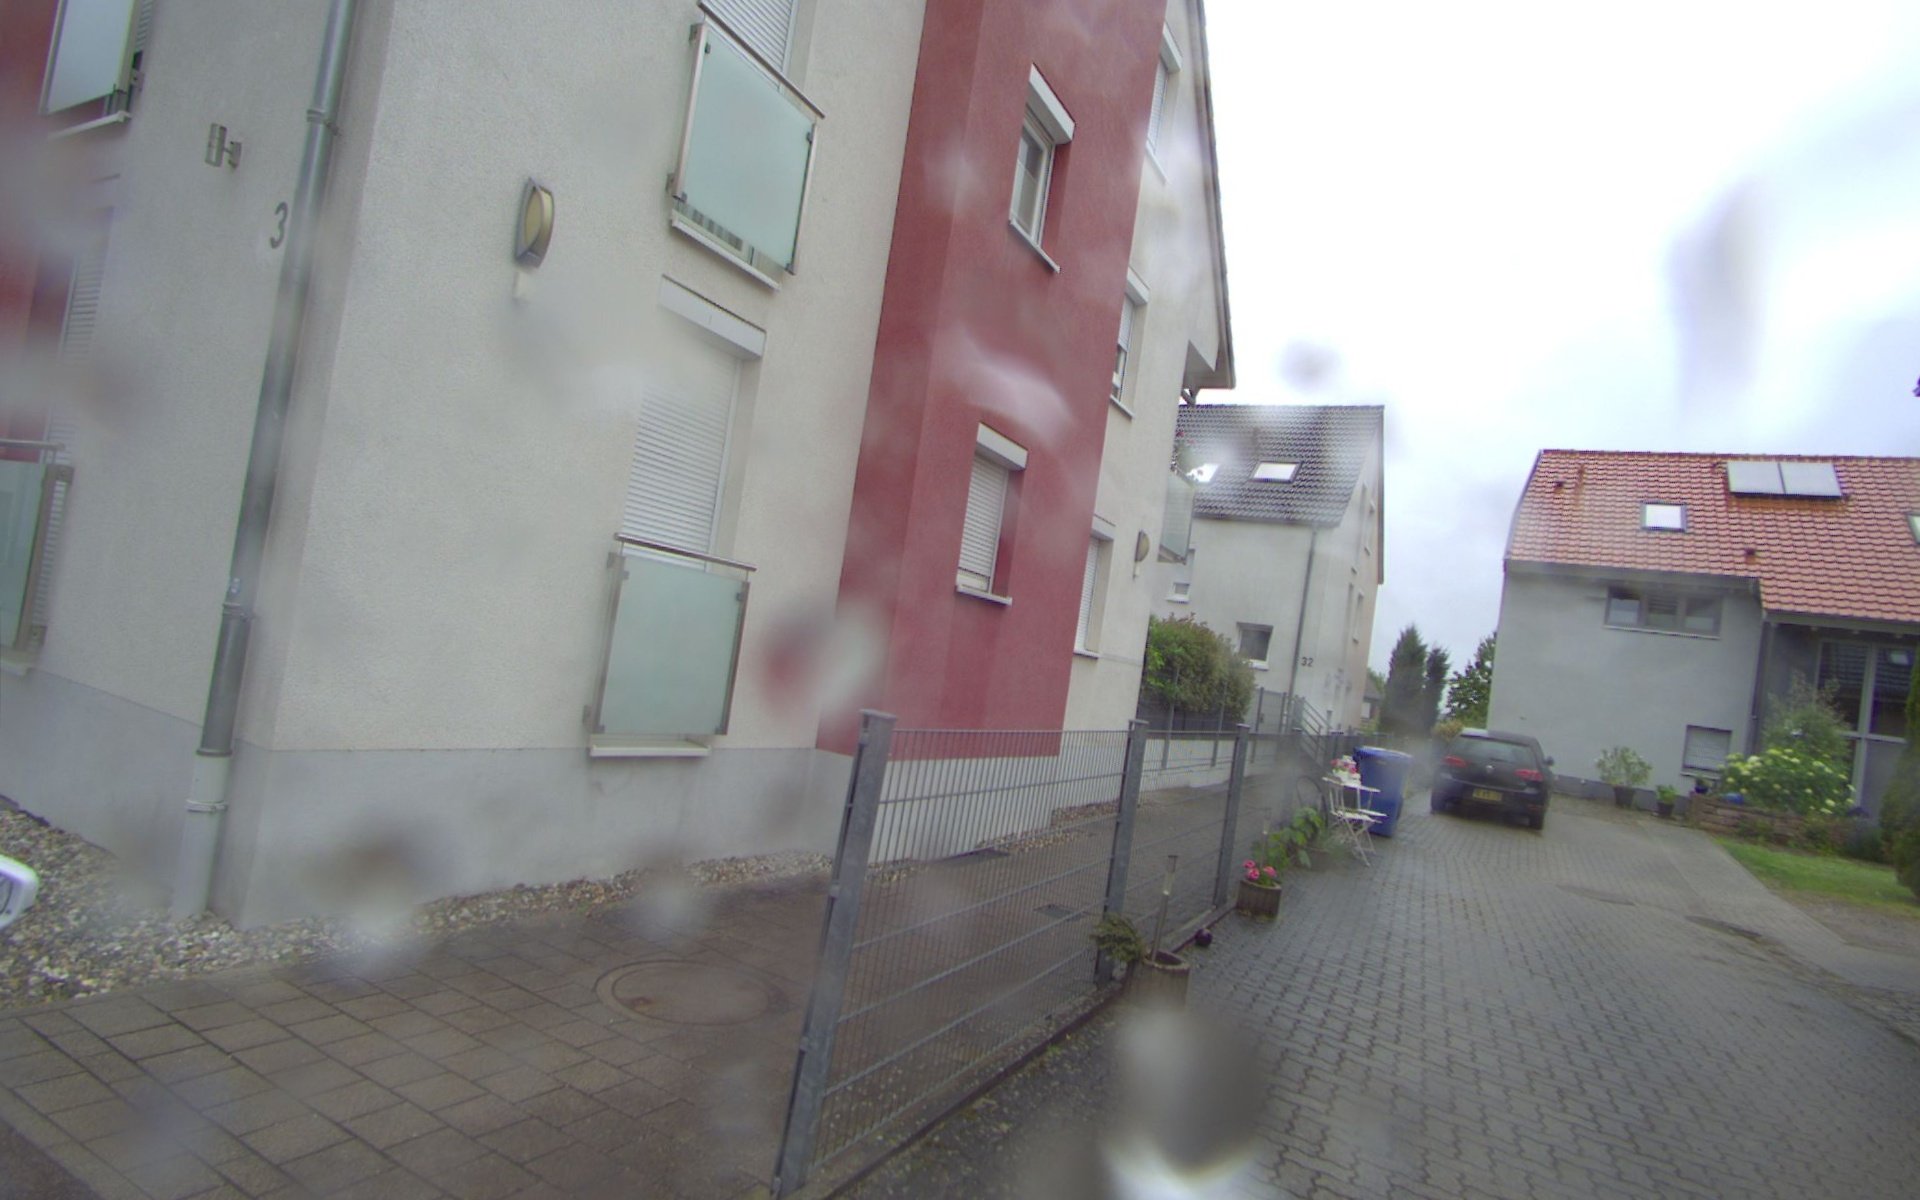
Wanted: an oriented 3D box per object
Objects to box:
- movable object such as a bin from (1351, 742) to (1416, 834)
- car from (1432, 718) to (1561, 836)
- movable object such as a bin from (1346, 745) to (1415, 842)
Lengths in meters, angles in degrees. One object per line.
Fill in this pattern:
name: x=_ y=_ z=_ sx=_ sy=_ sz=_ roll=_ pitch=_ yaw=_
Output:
movable object such as a bin: x=5.798 y=2.560 z=13.769 sx=0.675 sy=1.108 sz=0.536 roll=7 pitch=-2 yaw=27
car: x=9.703 y=3.055 z=18.053 sx=1.657 sy=1.491 sz=3.991 roll=7 pitch=0 yaw=32
movable object such as a bin: x=5.436 y=2.481 z=12.998 sx=0.675 sy=1.108 sz=0.536 roll=7 pitch=-2 yaw=27
